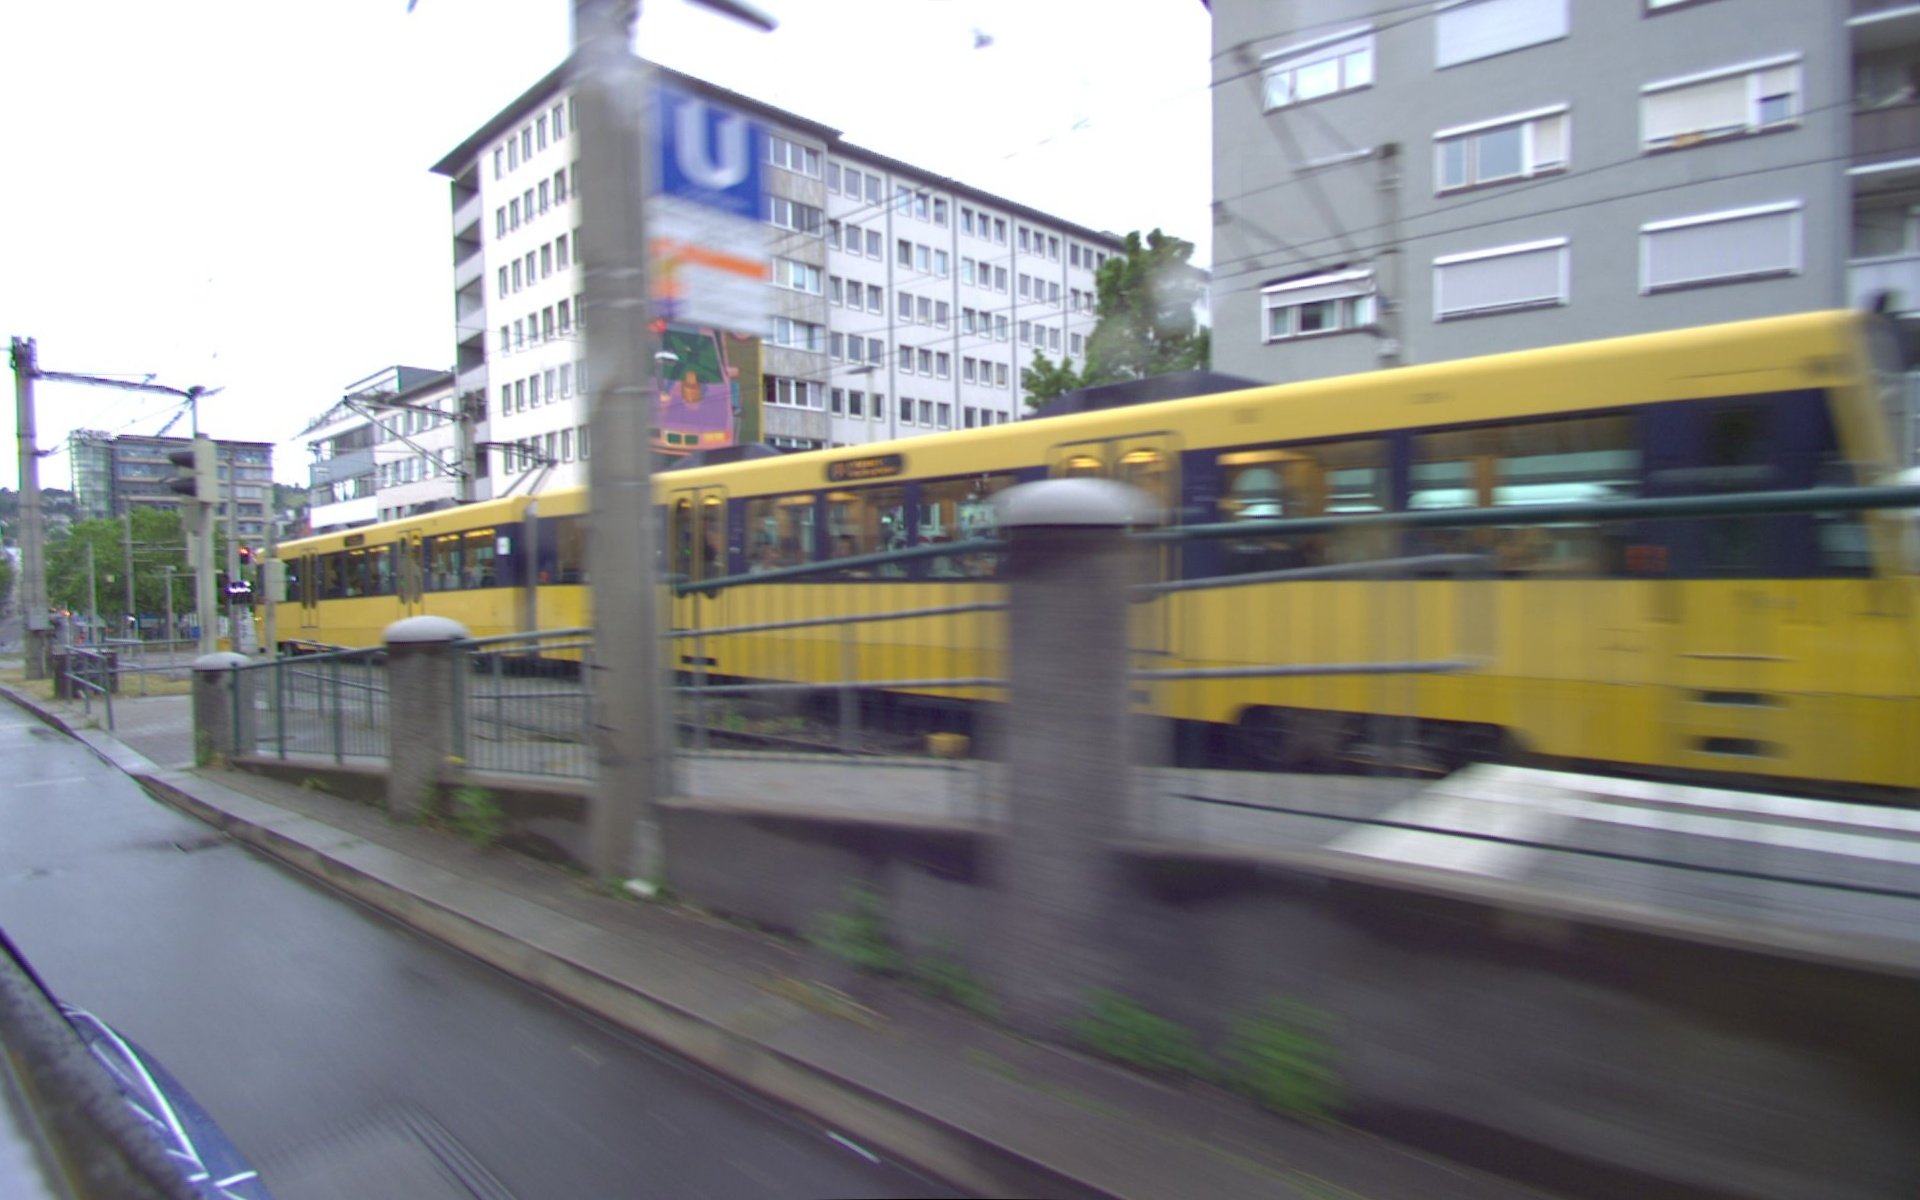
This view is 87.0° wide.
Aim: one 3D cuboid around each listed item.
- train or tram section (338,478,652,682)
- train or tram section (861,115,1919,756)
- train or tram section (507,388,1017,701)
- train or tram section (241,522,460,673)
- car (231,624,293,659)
[{"bbox_3d":[-10.741,-0.278,22.646,9.508,3.719,2.749,-2,1,42],"label":"train or tram section"},{"bbox_3d":[3.413,-0.882,9.754,9.712,3.719,2.749,-2,1,42],"label":"train or tram section"},{"bbox_3d":[-3.714,-0.578,16.238,9.508,3.719,2.749,-2,1,42],"label":"train or tram section"},{"bbox_3d":[-17.590,0.014,28.870,8.973,3.719,2.749,-2,1,42],"label":"train or tram section"},{"bbox_3d":[-36.906,2.212,53.470,3.867,1.645,1.801,-4,-1,42],"label":"car"}]
